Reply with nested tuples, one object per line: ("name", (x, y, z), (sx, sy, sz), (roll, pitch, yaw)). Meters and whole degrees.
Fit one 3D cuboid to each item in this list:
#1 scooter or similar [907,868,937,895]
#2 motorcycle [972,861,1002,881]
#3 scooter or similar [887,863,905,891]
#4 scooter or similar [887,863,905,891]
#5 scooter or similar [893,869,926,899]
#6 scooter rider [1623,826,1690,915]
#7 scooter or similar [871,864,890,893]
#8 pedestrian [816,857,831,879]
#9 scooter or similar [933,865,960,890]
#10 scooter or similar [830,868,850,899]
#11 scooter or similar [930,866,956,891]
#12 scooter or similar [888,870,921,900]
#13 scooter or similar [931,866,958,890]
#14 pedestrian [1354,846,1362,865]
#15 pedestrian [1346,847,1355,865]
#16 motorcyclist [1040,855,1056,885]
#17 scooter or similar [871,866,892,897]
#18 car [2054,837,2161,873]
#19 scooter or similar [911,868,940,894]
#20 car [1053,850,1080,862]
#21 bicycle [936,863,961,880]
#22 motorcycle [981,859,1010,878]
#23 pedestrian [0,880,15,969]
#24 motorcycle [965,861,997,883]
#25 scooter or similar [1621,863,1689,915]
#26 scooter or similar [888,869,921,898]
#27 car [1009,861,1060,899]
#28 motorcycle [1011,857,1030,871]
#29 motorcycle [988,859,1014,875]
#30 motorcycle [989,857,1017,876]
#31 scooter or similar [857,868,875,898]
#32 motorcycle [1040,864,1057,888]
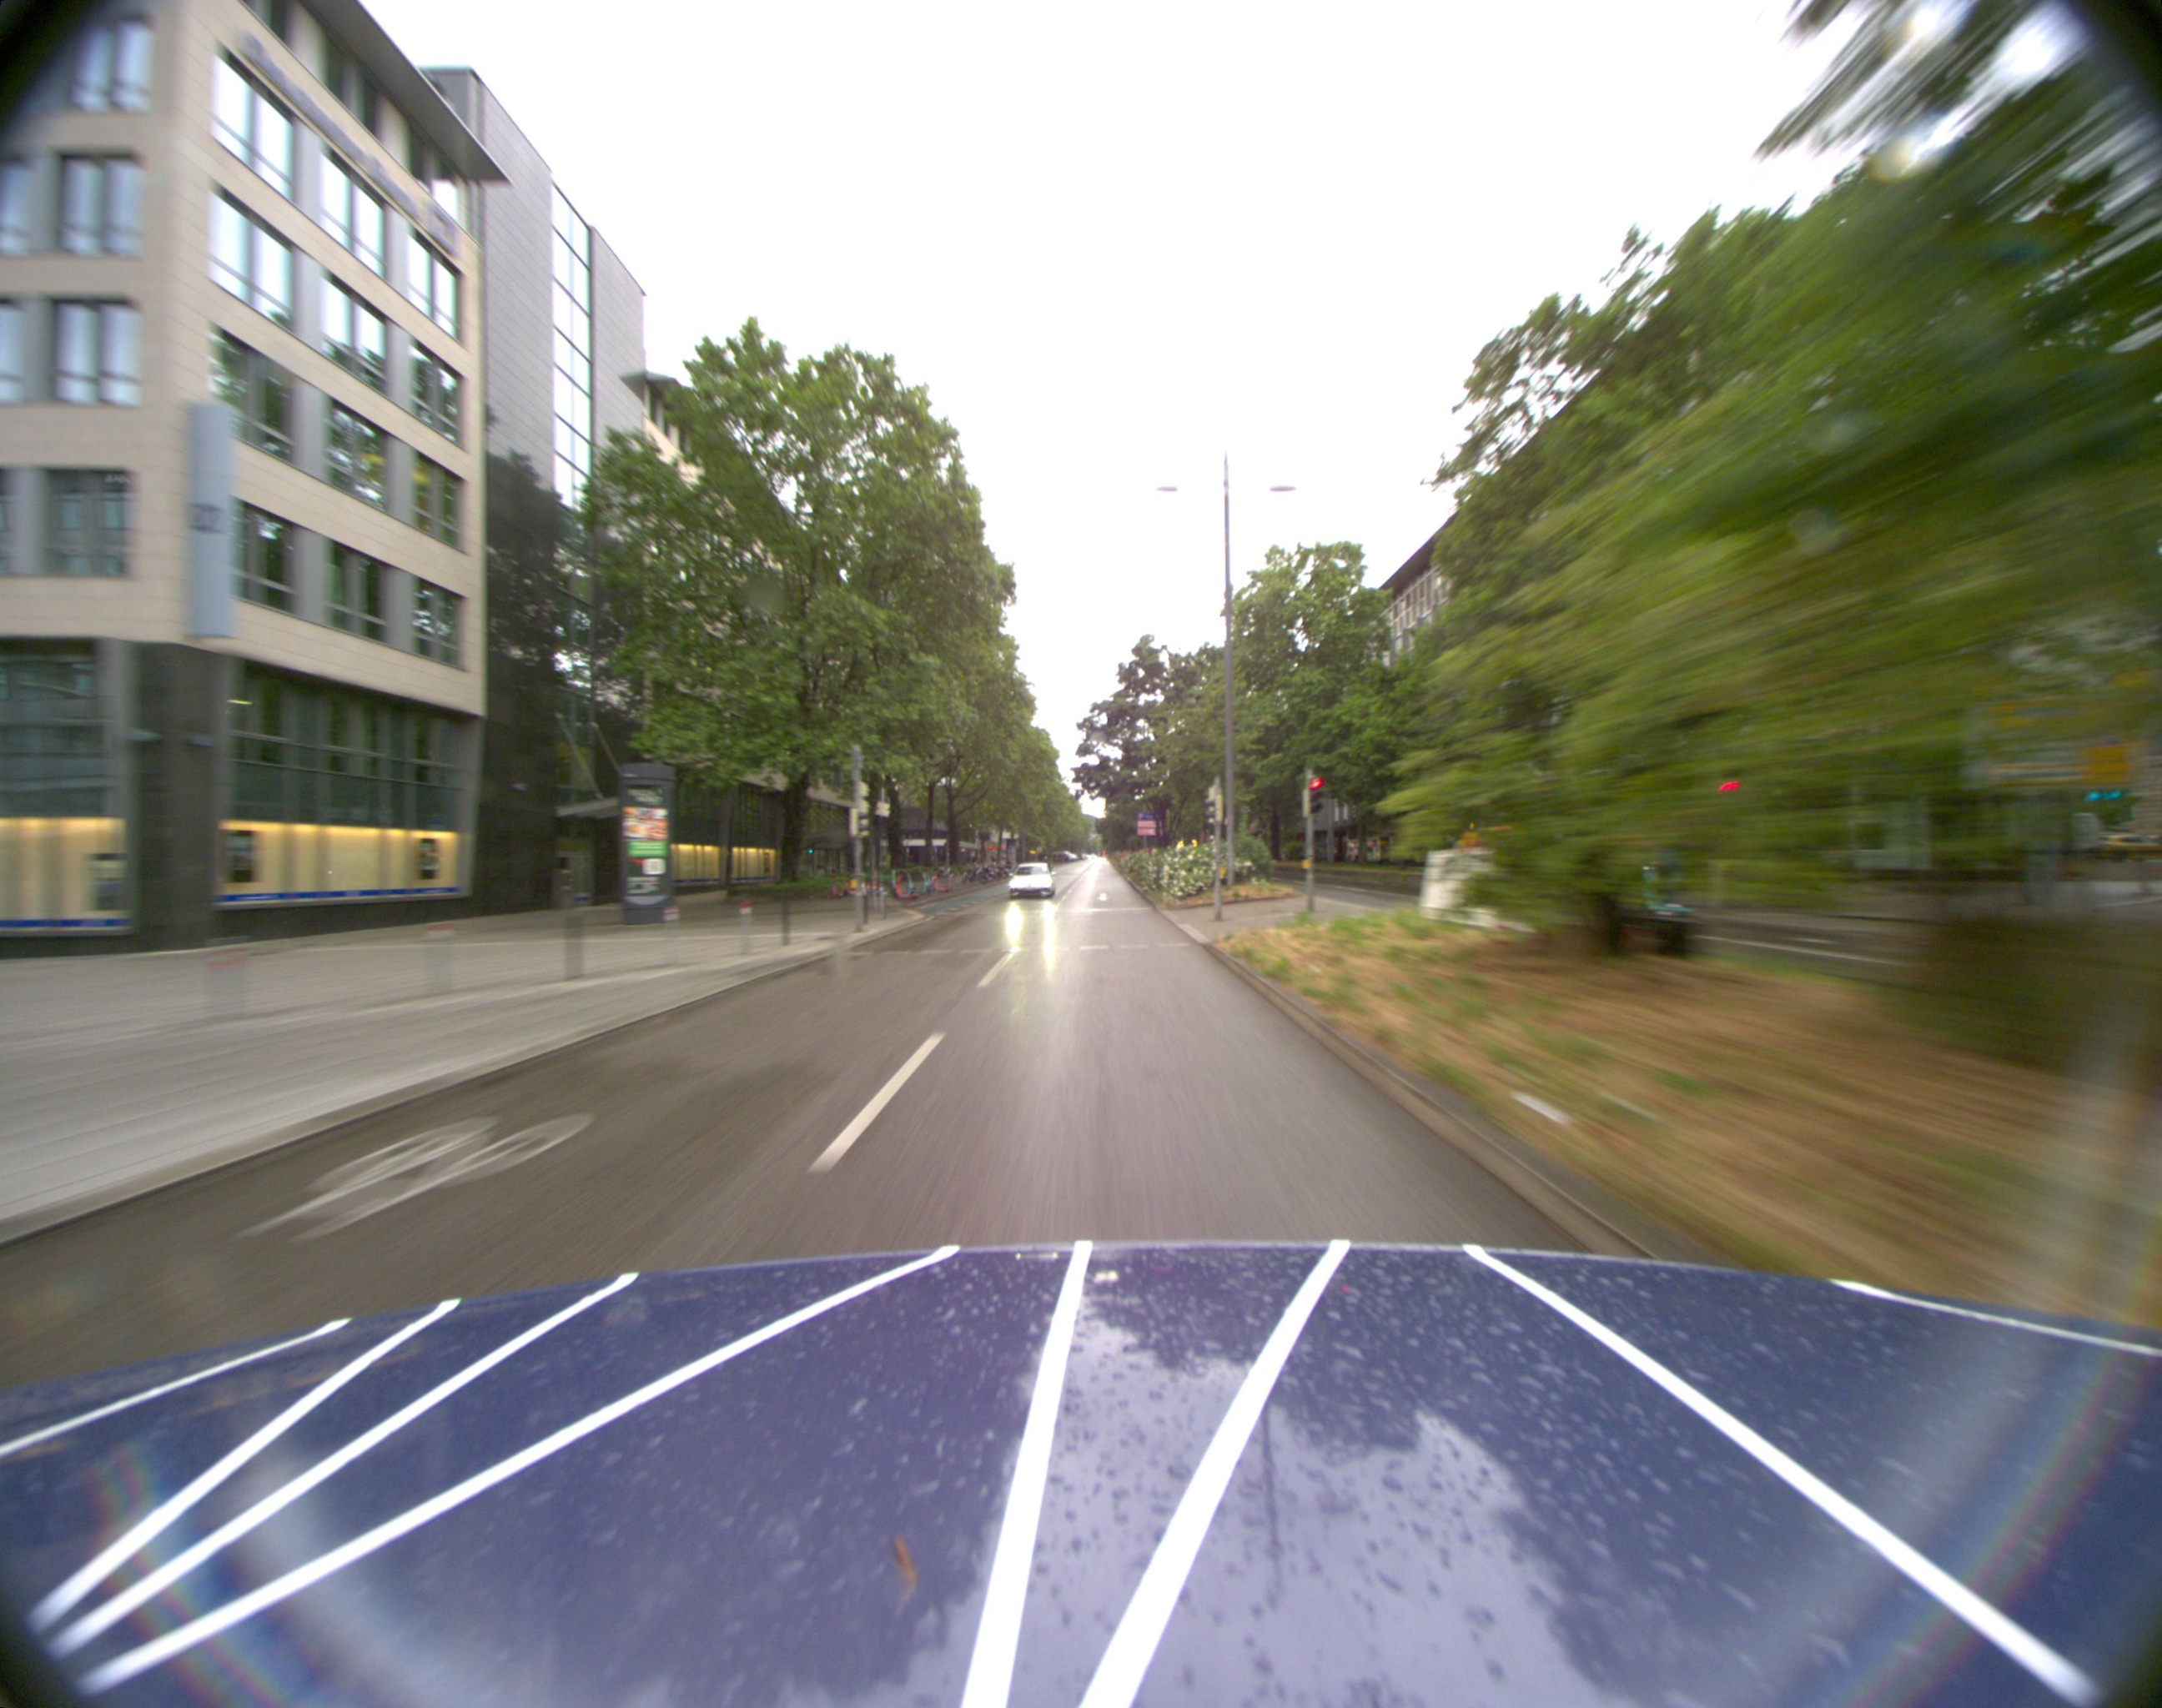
("scooter or similar", (-7.570, 1.310, 36.154), (1.292, 1.228, 0.489), (0, -1, 4))
("motorcycle", (-6.494, 1.173, 52.510), (1.964, 1.365, 0.728), (1, -1, -20))
("scooter or similar", (-8.524, 1.056, 35.069), (0.489, 1.252, 1.294), (1, -1, 2))
("scooter or similar", (-8.524, 1.056, 35.069), (0.489, 1.252, 1.294), (1, -1, 2))
("scooter or similar", (-7.369, 1.283, 32.738), (1.291, 1.252, 0.490), (0, -1, 13))
("scooter rider", (12.728, 0.356, 16.825), (0.902, 1.929, 0.757), (-1, 1, -2))
("scooter or similar", (-8.930, 1.085, 33.859), (0.489, 1.252, 1.294), (1, -1, 2))
("pedestrian", (-19.568, 1.043, 57.739), (0.727, 1.683, 0.830), (0, 0, 44))
("scooter or similar", (-7.134, 1.241, 40.181), (1.292, 1.270, 0.537), (0, -1, 6))
("scooter or similar", (-9.995, 1.206, 31.494), (0.490, 1.191, 1.290), (-2, 1, -29))
("scooter or similar", (-7.077, 1.255, 39.050), (1.293, 1.270, 0.536), (1, -1, -9))
("scooter or similar", (-7.463, 1.295, 32.129), (1.291, 1.252, 0.490), (0, -1, 13))
("scooter or similar", (-7.131, 1.247, 39.737), (1.292, 1.270, 0.537), (0, -1, 6))
("pedestrian", (26.244, 0.120, 72.031), (0.549, 1.796, 0.522), (-1, 1, 2))
("pedestrian", (25.535, 0.205, 71.921), (0.565, 1.698, 0.686), (-1, 1, 2))
("motorcyclist", (-1.778, 0.858, 41.387), (0.744, 1.575, 1.059), (-2, 1, 2))
("scooter or similar", (-8.399, 1.151, 32.076), (0.489, 1.252, 1.294), (1, -1, 2))
("car", (55.609, 0.042, 40.676), (4.136, 1.827, 1.930), (-1, 0, 9))
("scooter or similar", (-7.551, 1.299, 36.899), (1.292, 1.228, 0.489), (0, -1, 4))
("car", (-3.435, 0.401, 180.895), (6.267, 2.665, 2.326), (-1, 1, 37))
("bicycle", (-8.579, 1.141, 49.272), (0.637, 1.022, 1.767), (-1, 0, 30))
("motorcycle", (-6.307, 1.059, 55.940), (1.964, 1.365, 0.728), (1, -1, -20))
("pedestrian", (-22.876, 1.481, 15.297), (1.278, 1.839, 0.918), (-2, 1, -21))
("motorcycle", (-6.461, 1.157, 49.236), (1.963, 1.365, 0.728), (1, -1, -14))
("scooter or similar", (12.720, 0.762, 16.860), (1.185, 1.107, 0.435), (-1, 1, -2))
("scooter or similar", (-7.729, 1.286, 33.283), (1.291, 1.252, 0.490), (0, -1, 13))
("car", (-1.976, 1.071, 33.065), (1.795, 1.463, 3.794), (-2, 0, 2))
("motorcycle", (-6.062, 0.985, 76.086), (0.682, 1.359, 1.950), (4, 2, 42))
("motorcycle", (-6.589, 1.081, 62.792), (2.064, 1.206, 0.683), (1, 1, -34))
("motorcycle", (-6.220, 0.995, 60.334), (2.062, 1.420, 0.728), (1, -1, -20))
("scooter or similar", (-8.829, 1.176, 31.234), (0.489, 1.191, 1.292), (-1, 1, -8))
("motorcycle", (-1.768, 1.206, 41.438), (0.744, 1.194, 2.235), (-2, 1, 2))
